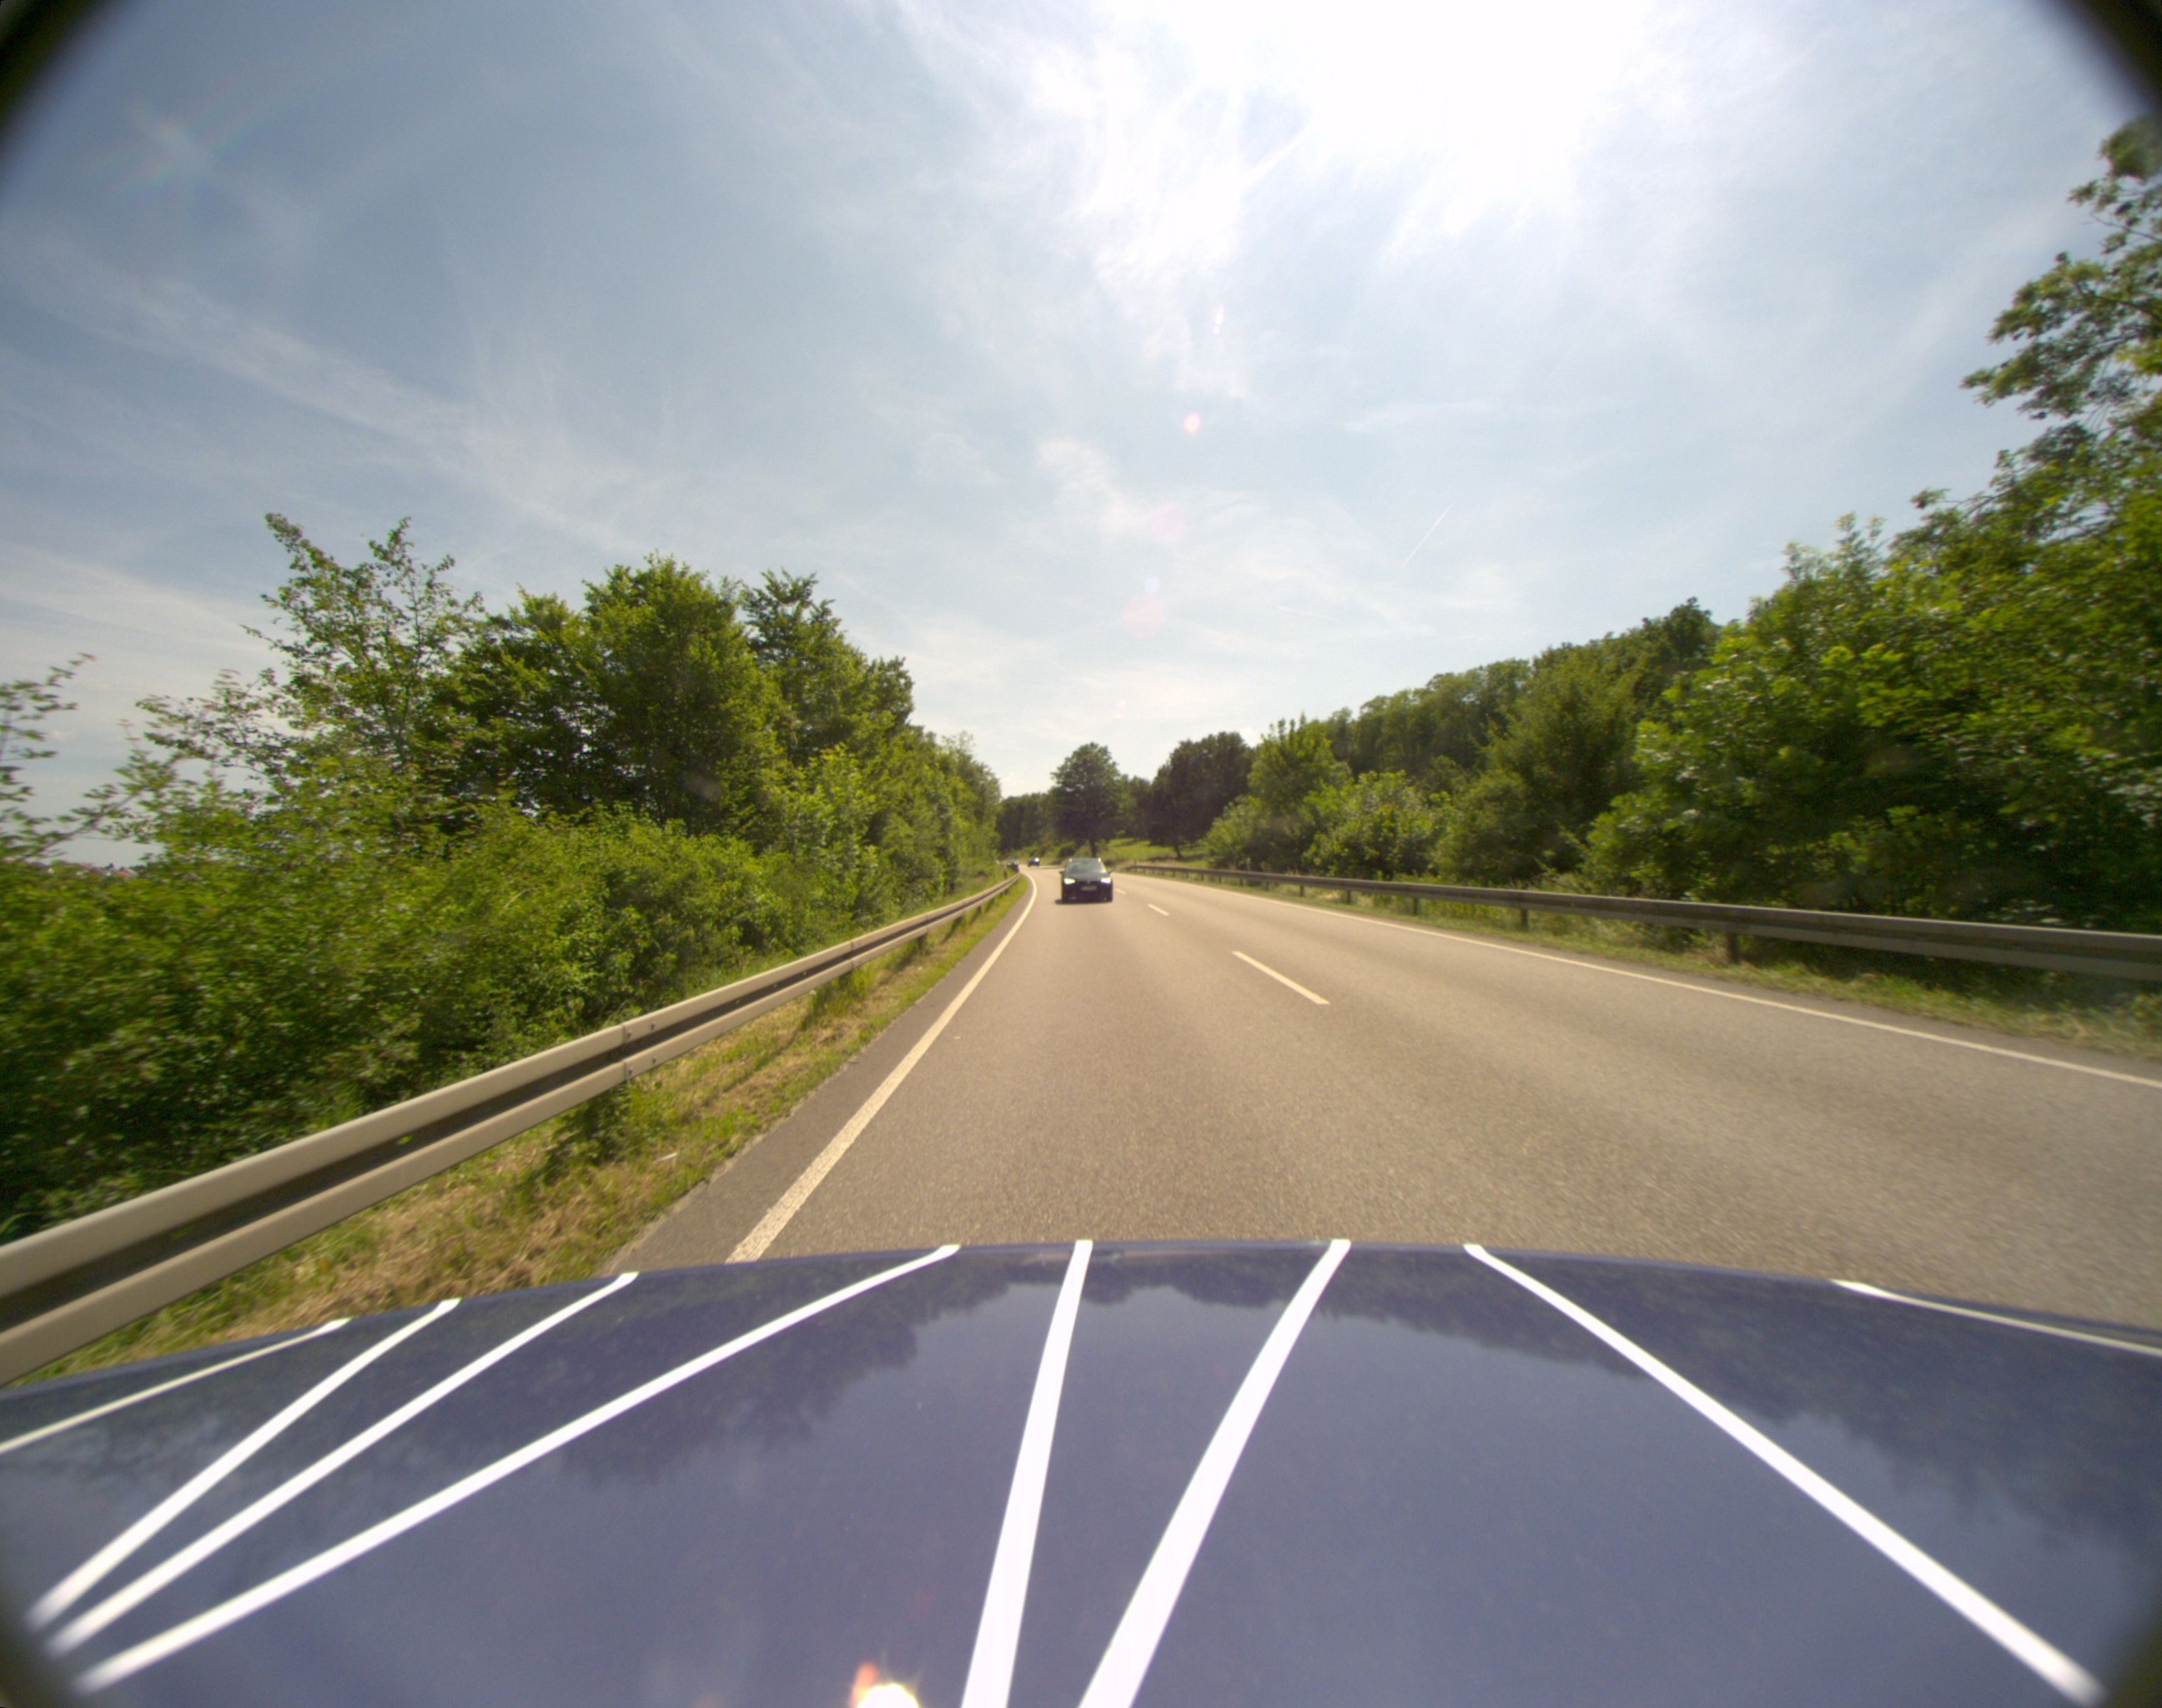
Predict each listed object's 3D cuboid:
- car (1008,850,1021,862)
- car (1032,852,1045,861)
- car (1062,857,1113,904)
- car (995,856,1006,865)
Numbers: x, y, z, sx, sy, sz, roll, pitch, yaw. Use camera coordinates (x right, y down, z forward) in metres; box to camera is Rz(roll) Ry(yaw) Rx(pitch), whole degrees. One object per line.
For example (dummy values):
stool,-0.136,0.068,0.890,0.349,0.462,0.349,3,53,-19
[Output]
car,-11.644,0.368,133.037,1.999,2.002,3.998,-3,1,-5
car,-7.513,0.490,133.796,1.870,1.518,3.887,-2,0,-9
car,0.181,0.909,27.103,1.662,1.531,3.486,-2,-1,-2
car,-17.843,1.394,168.410,2.000,2.002,3.995,-3,1,-13
